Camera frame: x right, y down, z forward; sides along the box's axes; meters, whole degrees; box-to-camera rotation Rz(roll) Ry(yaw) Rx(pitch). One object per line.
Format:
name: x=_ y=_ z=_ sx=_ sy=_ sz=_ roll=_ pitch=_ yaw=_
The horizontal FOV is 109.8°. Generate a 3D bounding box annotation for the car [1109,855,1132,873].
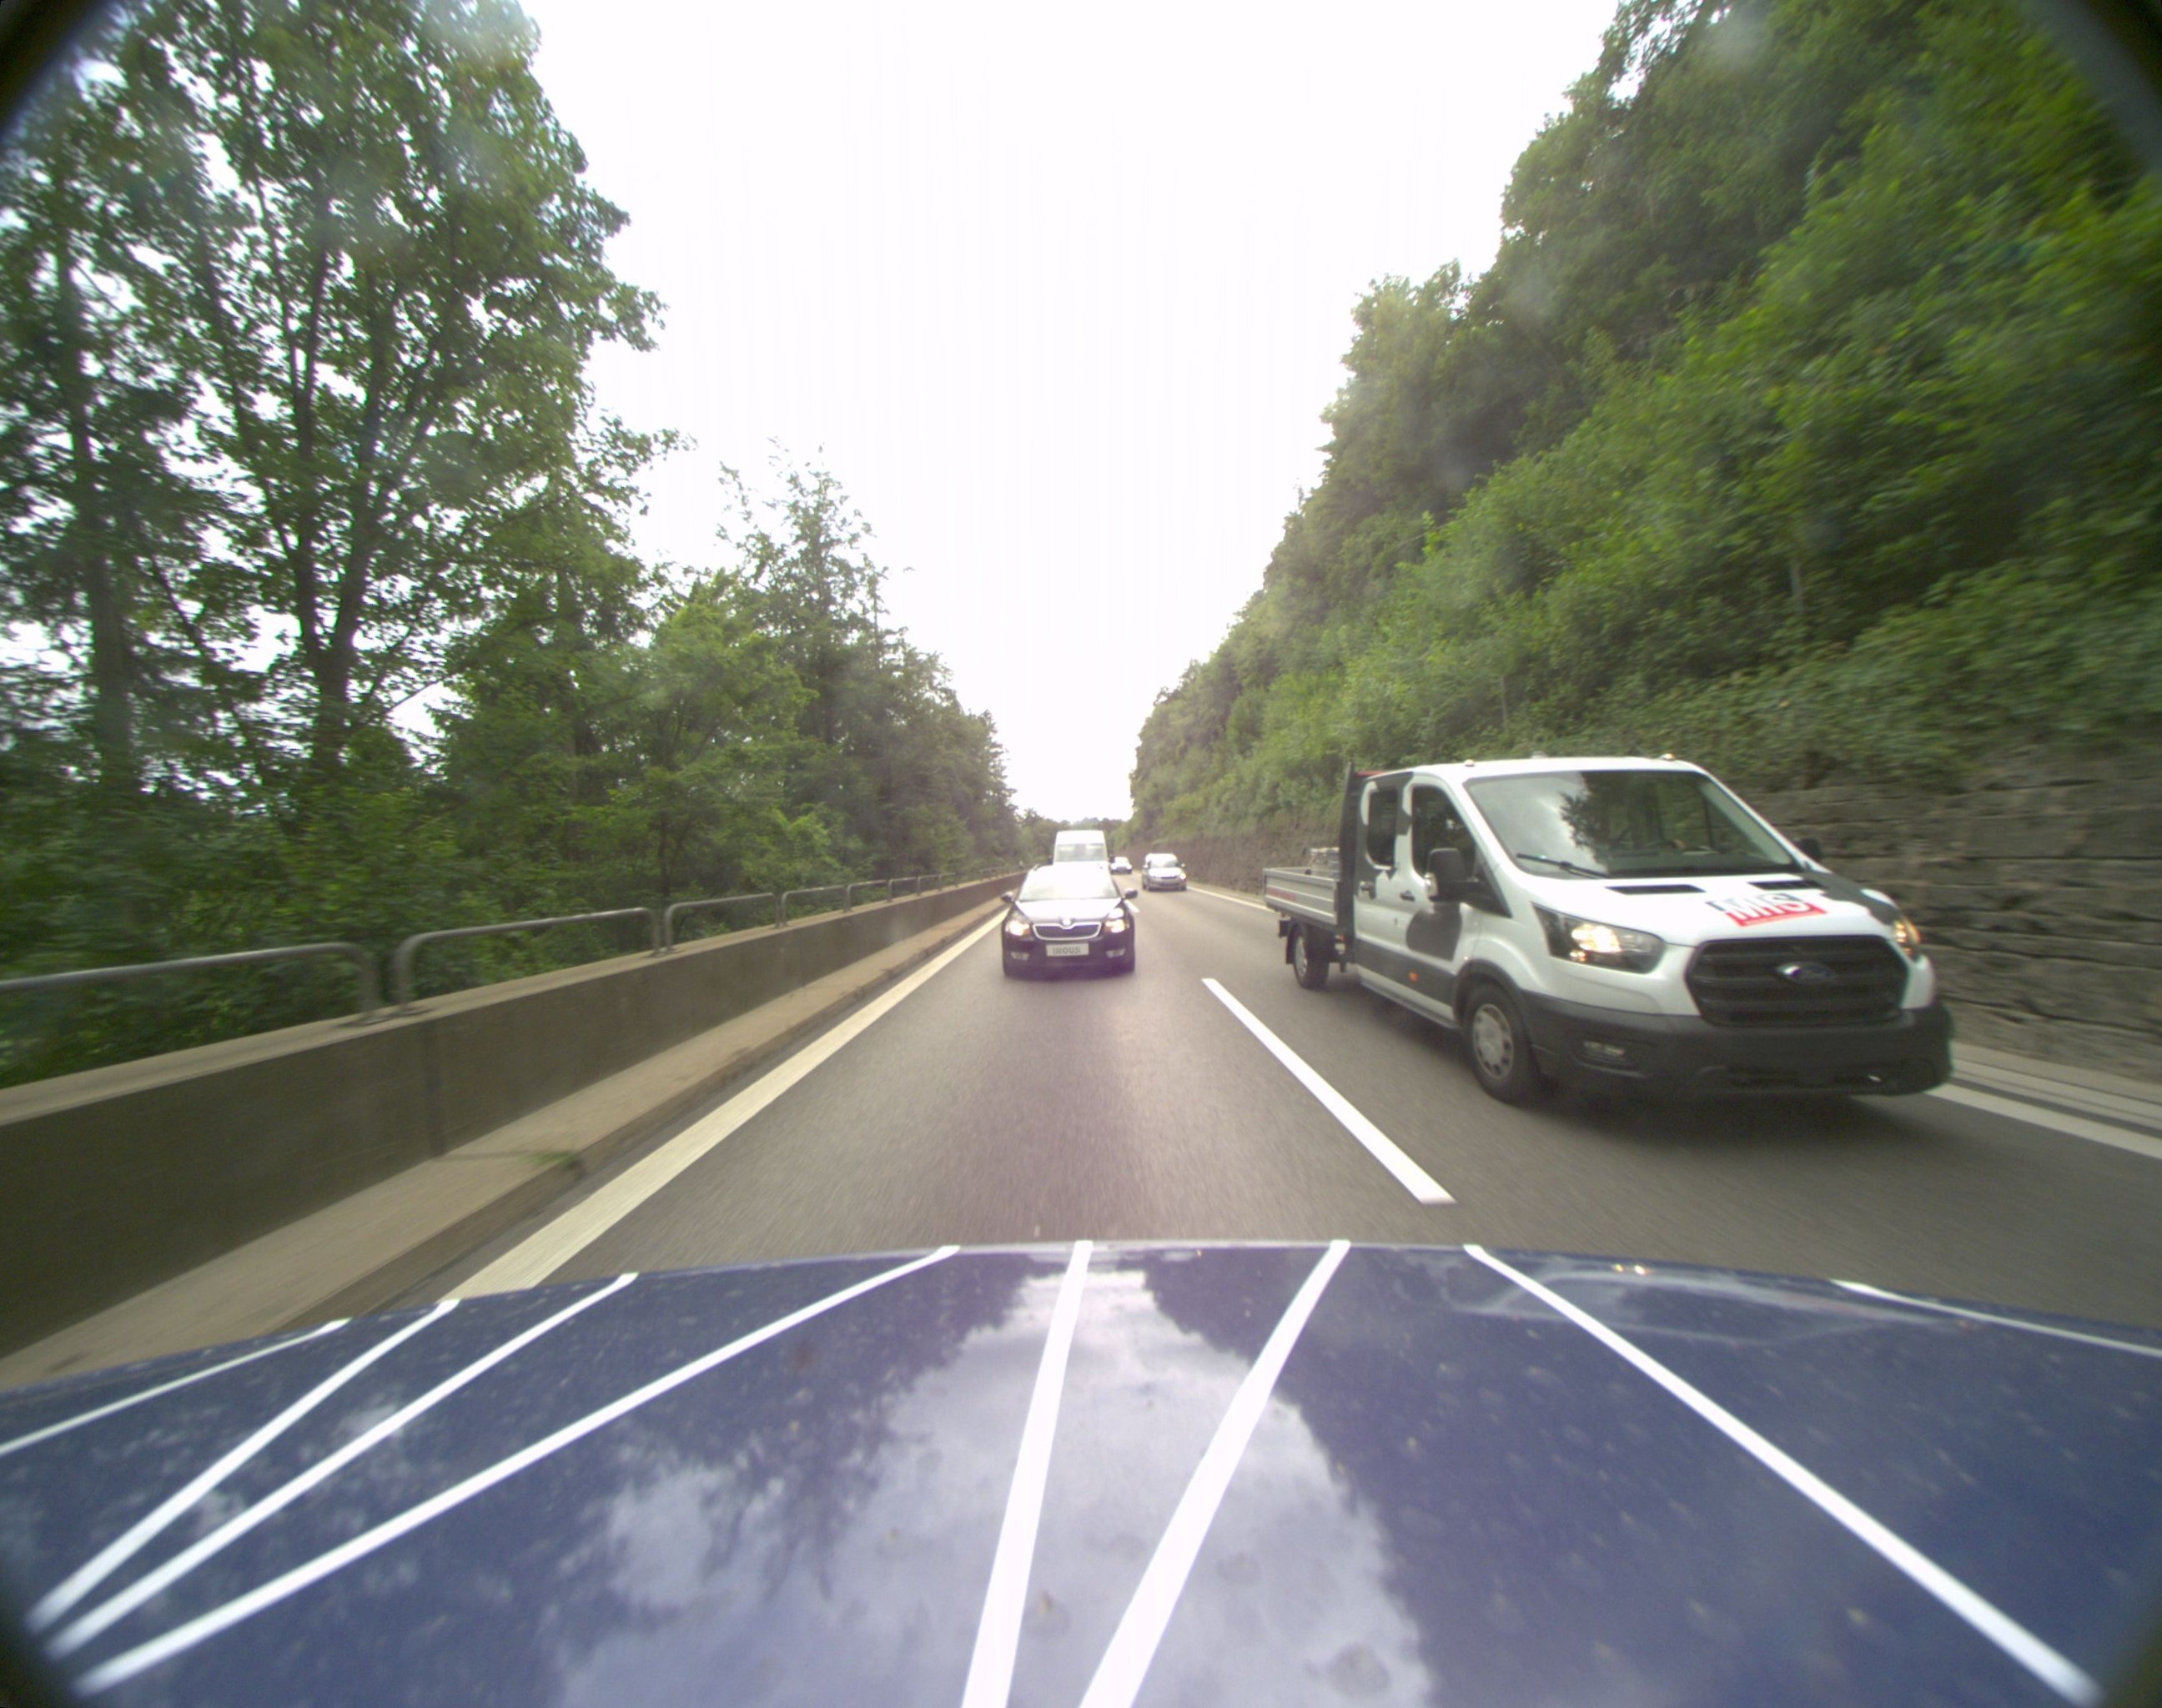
car: x=3.515 y=0.868 z=67.974 sx=1.711 sy=1.568 sz=4.602 roll=-2 pitch=0 yaw=0

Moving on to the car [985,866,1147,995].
car: x=-0.261 y=0.984 z=12.152 sx=1.913 sy=1.391 sz=5.695 roll=-3 pitch=0 yaw=-2

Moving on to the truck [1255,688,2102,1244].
truck: x=3.285 y=0.481 z=6.498 sx=1.998 sy=2.266 sz=6.585 roll=-2 pitch=0 yaw=0

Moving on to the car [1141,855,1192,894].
car: x=3.760 y=0.853 z=34.064 sx=1.711 sy=1.568 sz=4.602 roll=-2 pitch=0 yaw=0

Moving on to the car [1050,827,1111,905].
car: x=0.102 y=0.373 z=27.997 sx=1.998 sy=2.550 sz=5.918 roll=-1 pitch=1 yaw=2
